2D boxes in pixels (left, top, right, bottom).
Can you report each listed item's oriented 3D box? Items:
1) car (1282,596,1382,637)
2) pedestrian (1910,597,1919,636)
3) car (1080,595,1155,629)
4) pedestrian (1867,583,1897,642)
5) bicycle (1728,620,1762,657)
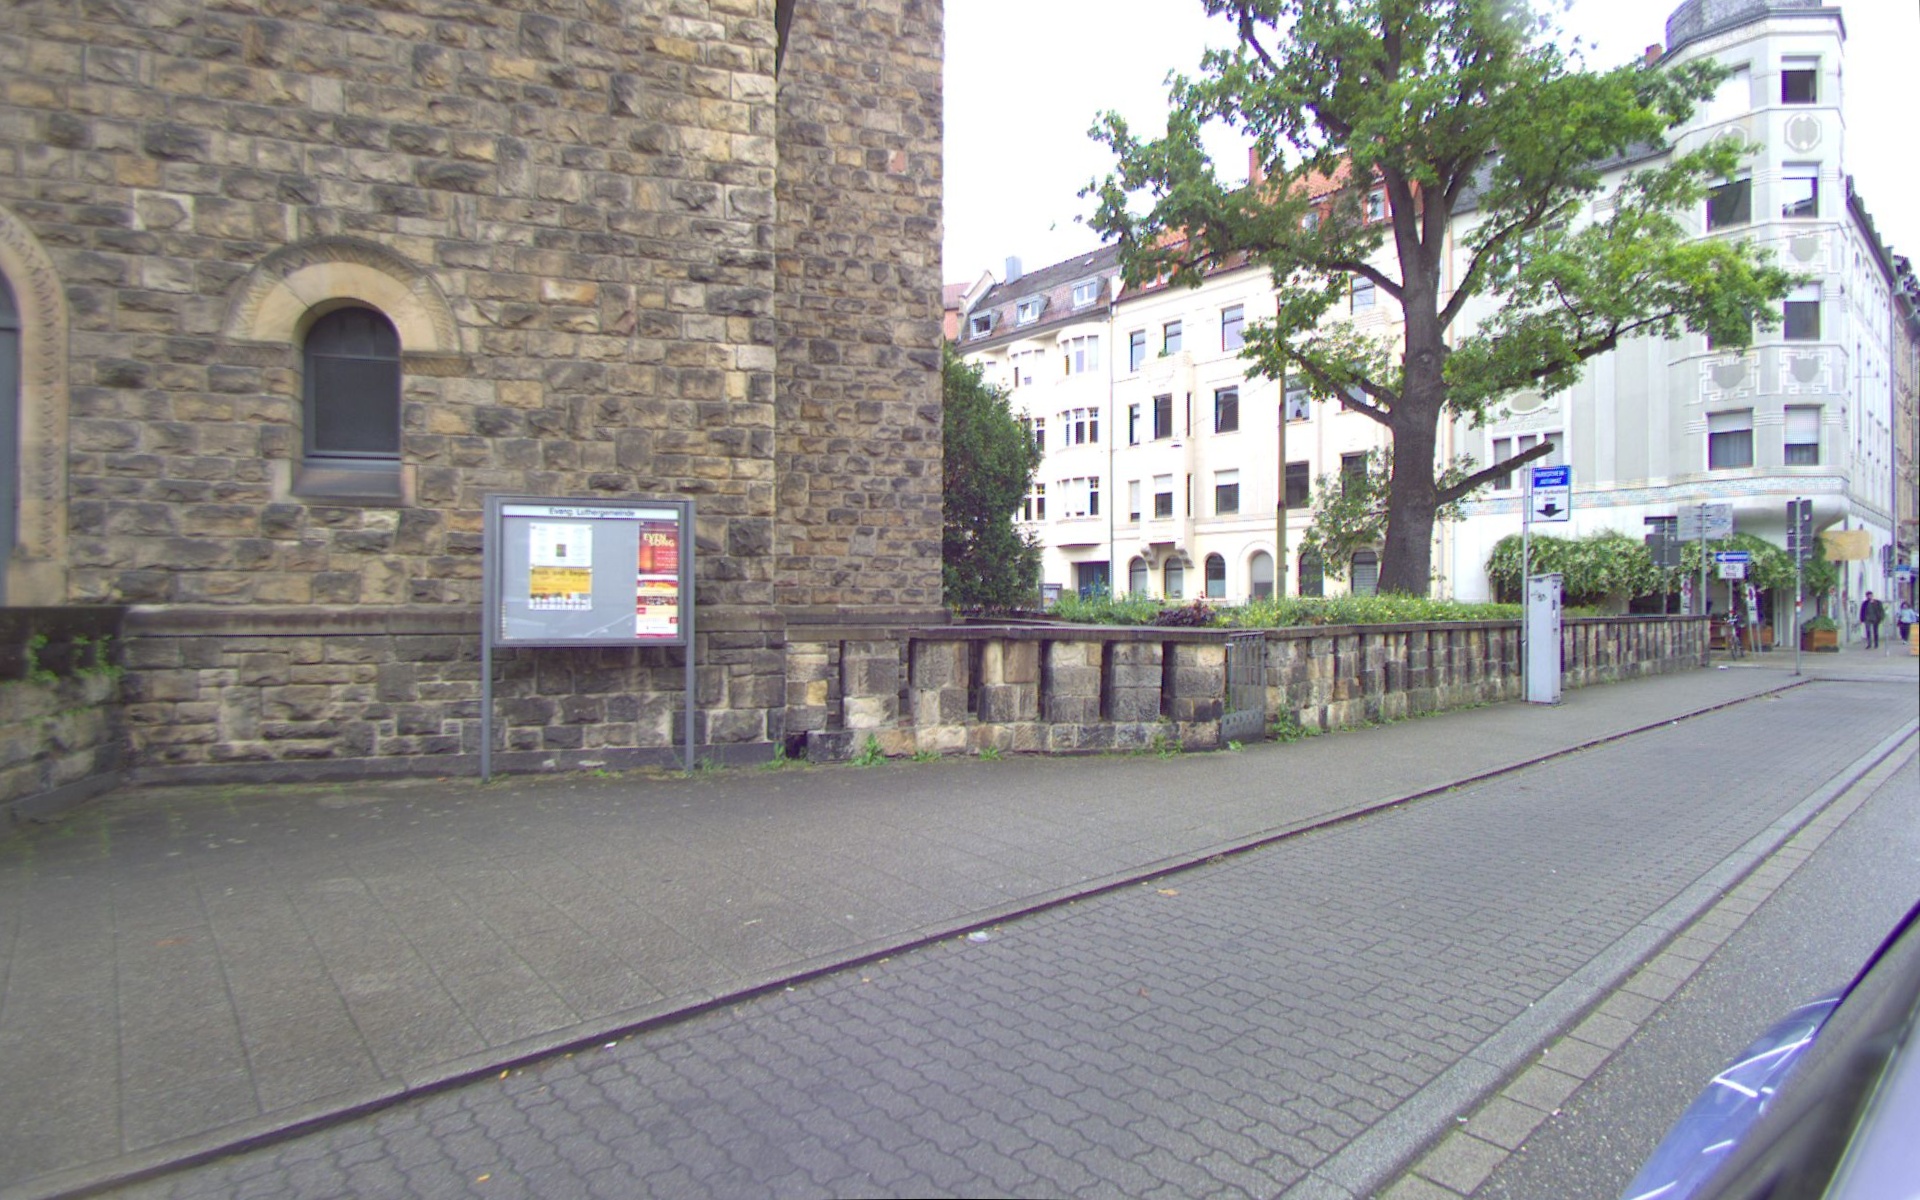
[{"bbox_3d":[13.986,0.582,38.182,1.421,1.427,3.271,0,1,-38],"label":"car"},{"bbox_3d":[36.669,0.621,38.692,0.385,1.479,0.481,1,0,-41],"label":"pedestrian"},{"bbox_3d":[7.073,0.501,45.609,1.421,1.427,3.271,0,1,-38],"label":"car"},{"bbox_3d":[30.018,0.391,32.947,0.681,1.896,0.645,1,0,-41],"label":"pedestrian"},{"bbox_3d":[22.042,1.060,28.417,1.989,0.904,0.390,-3,2,-42],"label":"bicycle"}]
